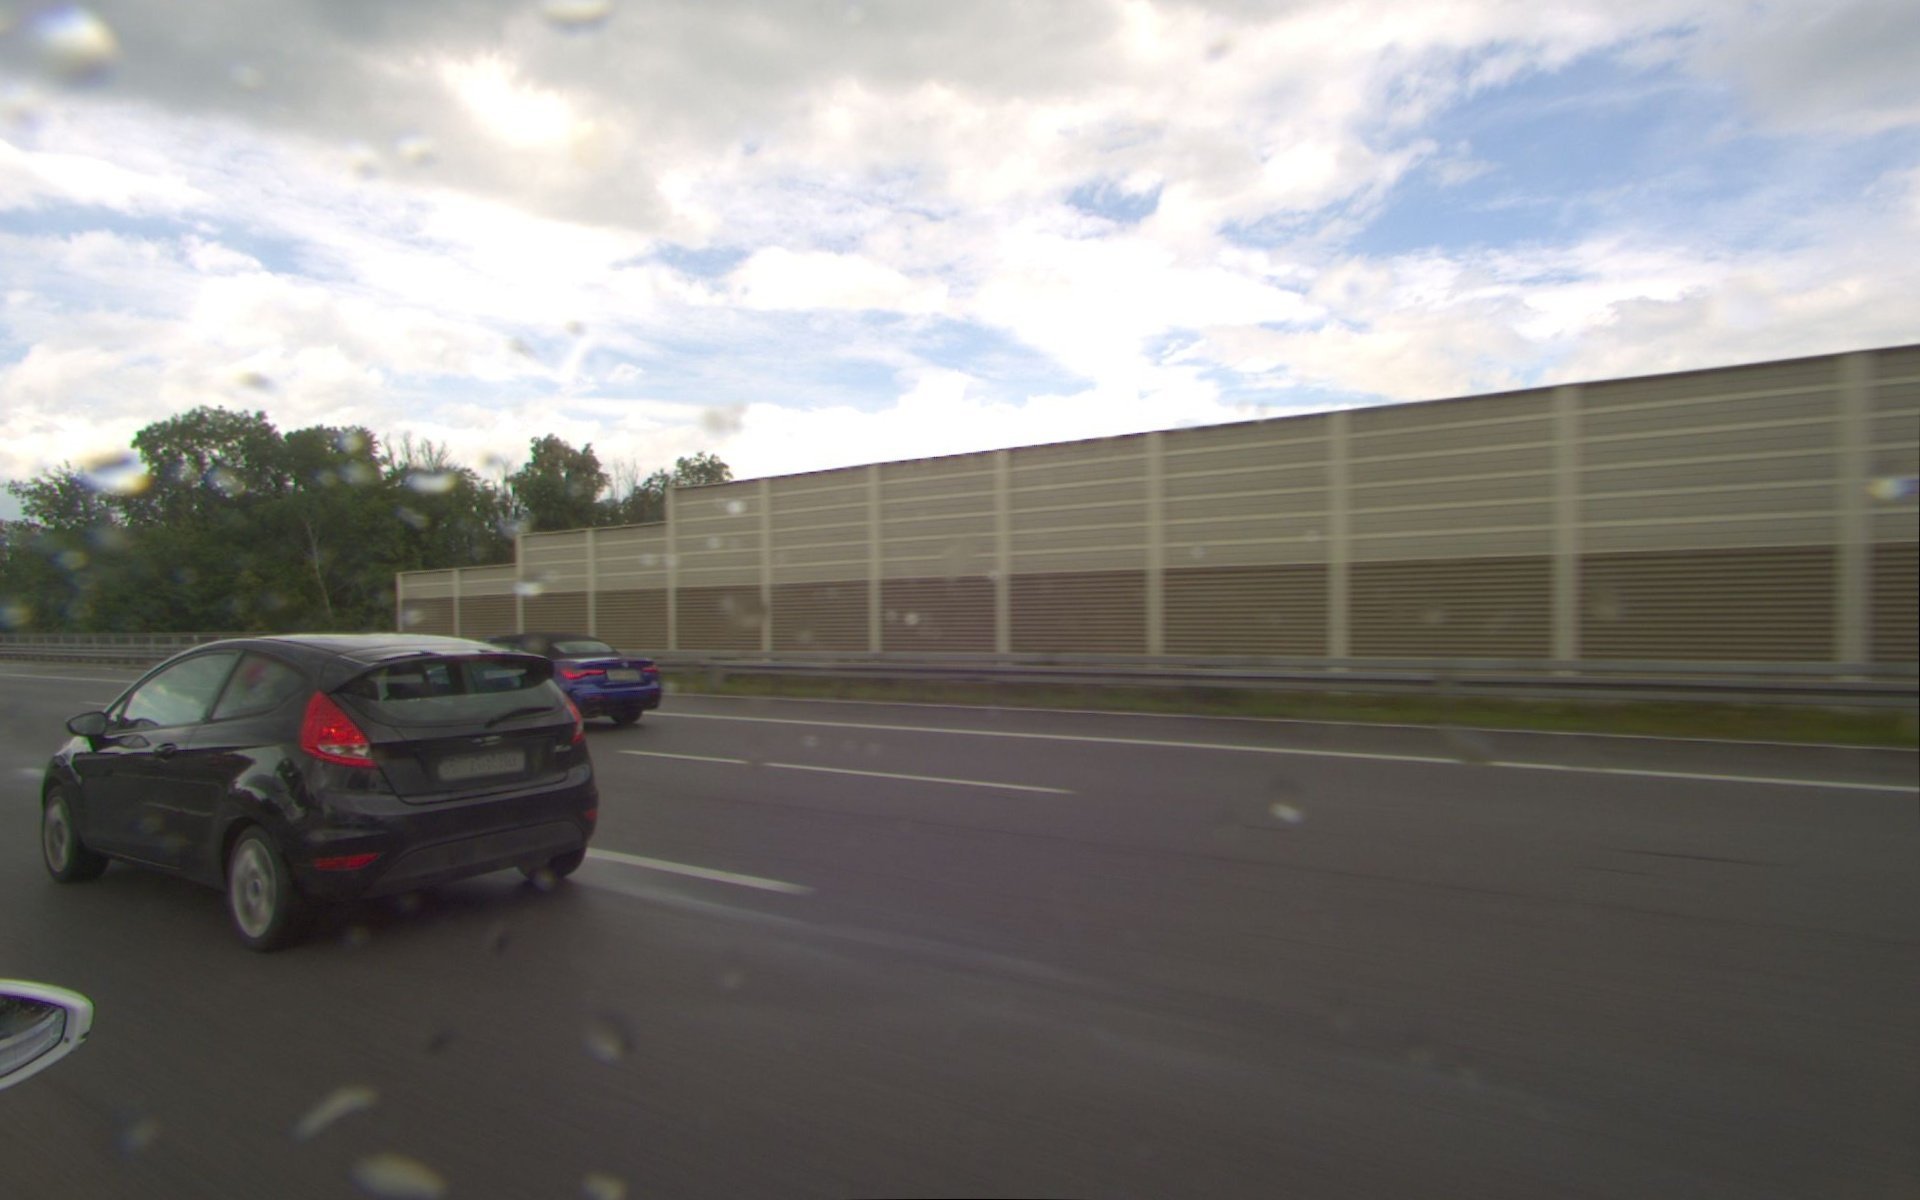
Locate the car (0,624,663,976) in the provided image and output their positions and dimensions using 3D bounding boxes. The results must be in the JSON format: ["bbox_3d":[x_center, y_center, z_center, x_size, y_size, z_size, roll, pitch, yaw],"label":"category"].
[{"bbox_3d":[-3.905,0.900,5.999,4.217,1.435,1.714,-2,-1,32],"label":"car"}]

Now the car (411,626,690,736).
[{"bbox_3d":[-6.348,1.140,15.416,4.172,1.437,1.946,-1,-1,33],"label":"car"}]
